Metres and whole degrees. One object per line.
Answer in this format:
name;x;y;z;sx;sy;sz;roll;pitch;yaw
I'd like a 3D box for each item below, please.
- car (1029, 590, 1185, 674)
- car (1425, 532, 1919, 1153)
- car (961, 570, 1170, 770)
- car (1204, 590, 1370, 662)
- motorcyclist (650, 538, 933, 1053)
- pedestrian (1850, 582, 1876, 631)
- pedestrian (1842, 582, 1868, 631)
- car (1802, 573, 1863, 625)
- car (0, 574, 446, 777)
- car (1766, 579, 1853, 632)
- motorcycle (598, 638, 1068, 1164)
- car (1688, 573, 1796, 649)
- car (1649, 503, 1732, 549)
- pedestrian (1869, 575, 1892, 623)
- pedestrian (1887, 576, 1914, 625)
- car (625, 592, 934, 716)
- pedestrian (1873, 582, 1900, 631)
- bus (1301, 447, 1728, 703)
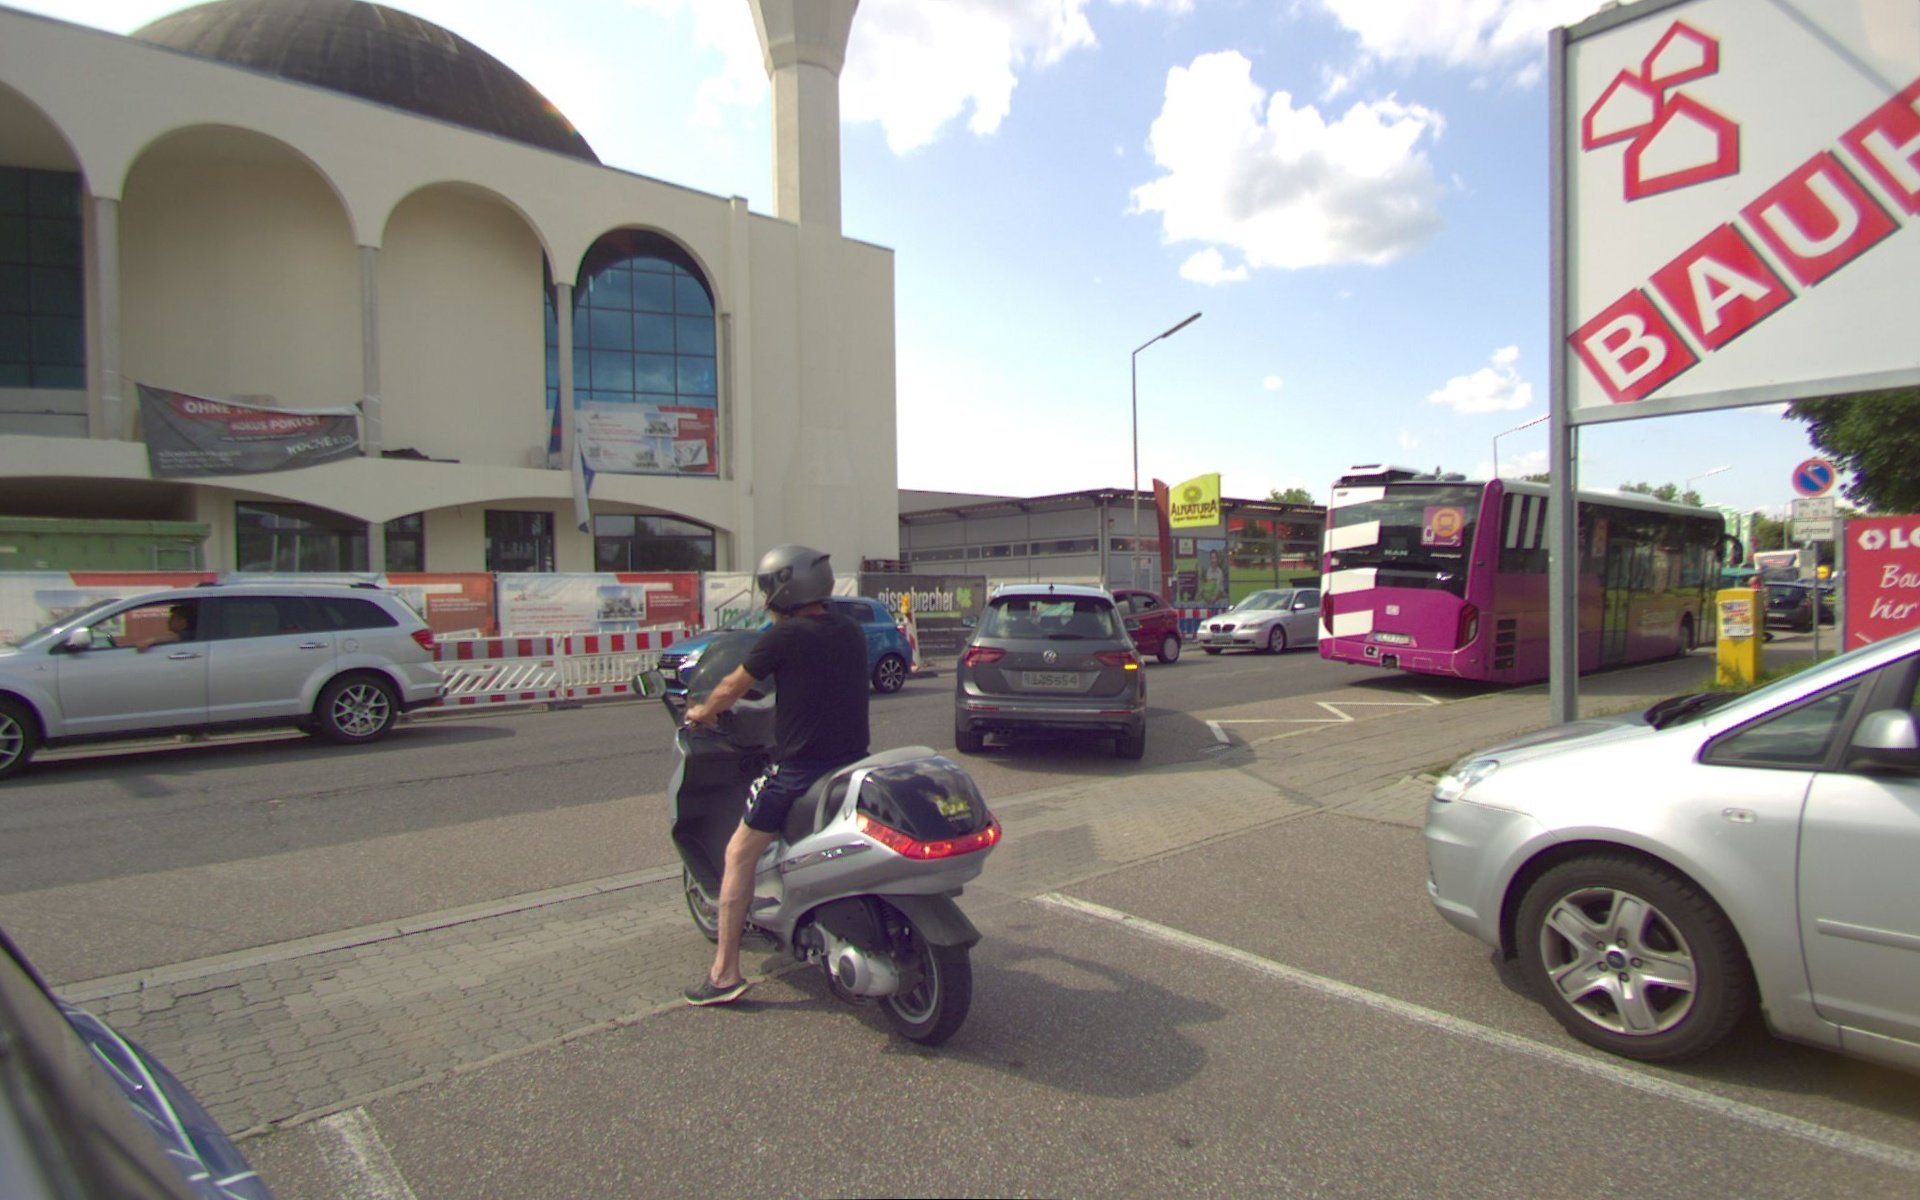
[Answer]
car;2.878;0.576;19.595;2.992;1.499;1.369;0;-1;-41
car;3.606;0.597;2.421;1.695;1.576;4.218;-1;0;-37
car;1.080;0.683;10.971;1.747;1.678;4.379;-2;-2;5
car;7.681;0.557;23.581;4.128;1.521;1.794;-1;0;-41
motorcyclist;-0.627;0.621;3.737;0.776;1.641;0.688;-1;0;-38
pedestrian;26.771;0.192;30.006;0.370;1.440;0.391;1;2;-13
pedestrian;27.136;0.193;30.682;0.370;1.440;0.391;1;2;-13
car;31.477;-0.048;36.485;2.837;1.769;1.348;0;2;-44
car;-7.952;0.667;10.029;4.768;1.712;1.869;0;-2;-45
car;26.717;0.179;31.803;3.152;1.561;1.561;0;-2;-41
motorcycle;-0.624;0.831;3.736;0.661;1.316;2.217;-1;0;-38
car;20.109;0.295;25.967;3.583;1.819;1.450;0;-2;-41
car;25.570;-2.574;35.407;2.904;1.426;1.695;0;3;-42
pedestrian;27.896;-0.031;30.665;0.389;1.440;0.372;3;3;32
pedestrian;27.825;0.018;29.936;0.370;1.440;0.391;1;2;-13
car;-2.514;0.678;14.718;4.131;1.525;1.699;-1;0;-41
pedestrian;27.241;0.188;29.765;0.370;1.440;0.391;1;2;-13
bus;10.518;-0.379;18.190;11.388;3.390;2.897;-1;0;-41
